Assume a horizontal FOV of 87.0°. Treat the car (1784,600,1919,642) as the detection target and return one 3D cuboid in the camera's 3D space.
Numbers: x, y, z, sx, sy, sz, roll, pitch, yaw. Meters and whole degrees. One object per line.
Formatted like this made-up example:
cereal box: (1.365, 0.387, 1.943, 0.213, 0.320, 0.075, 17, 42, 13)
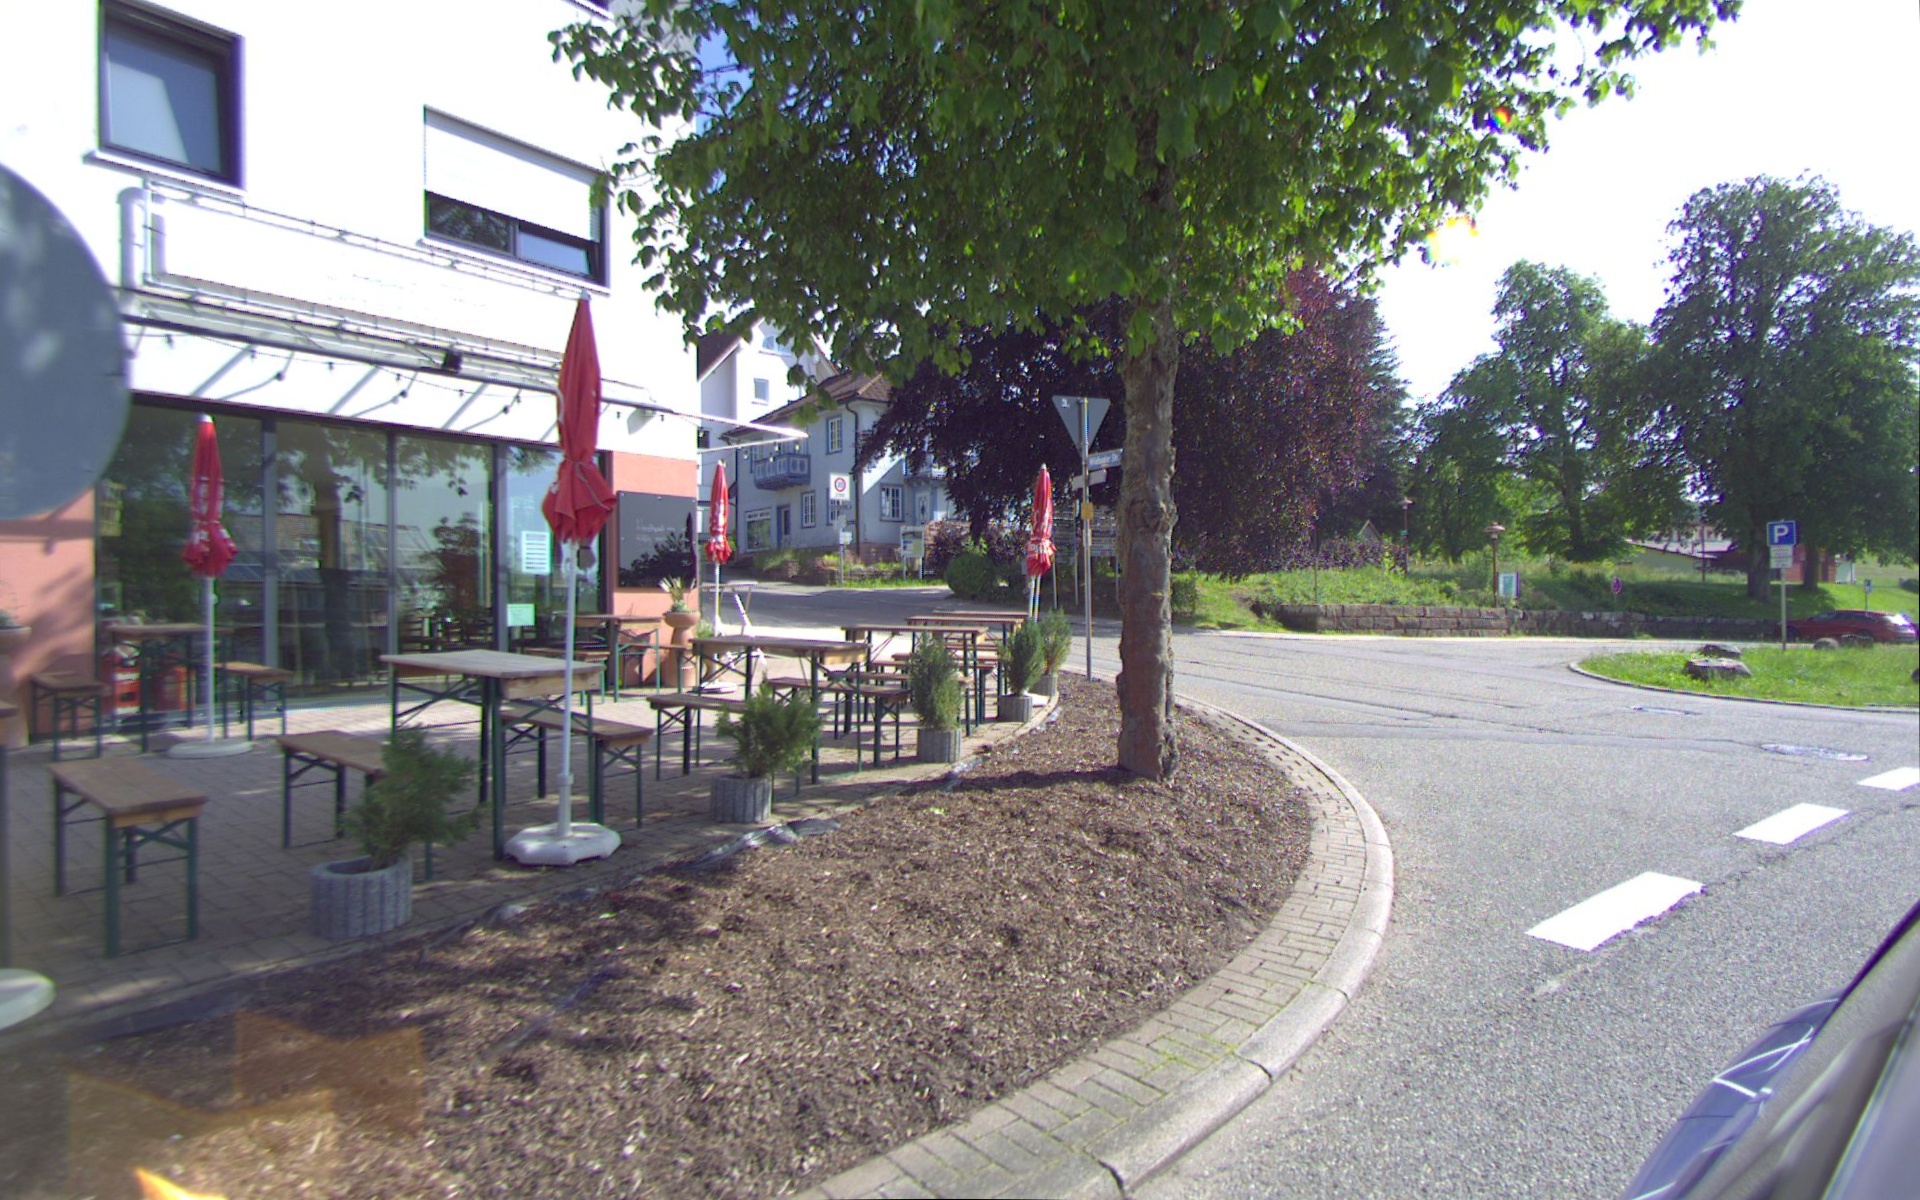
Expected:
car: (35.940, 0.802, 40.586, 1.666, 1.446, 4.277, 1, 2, -17)
